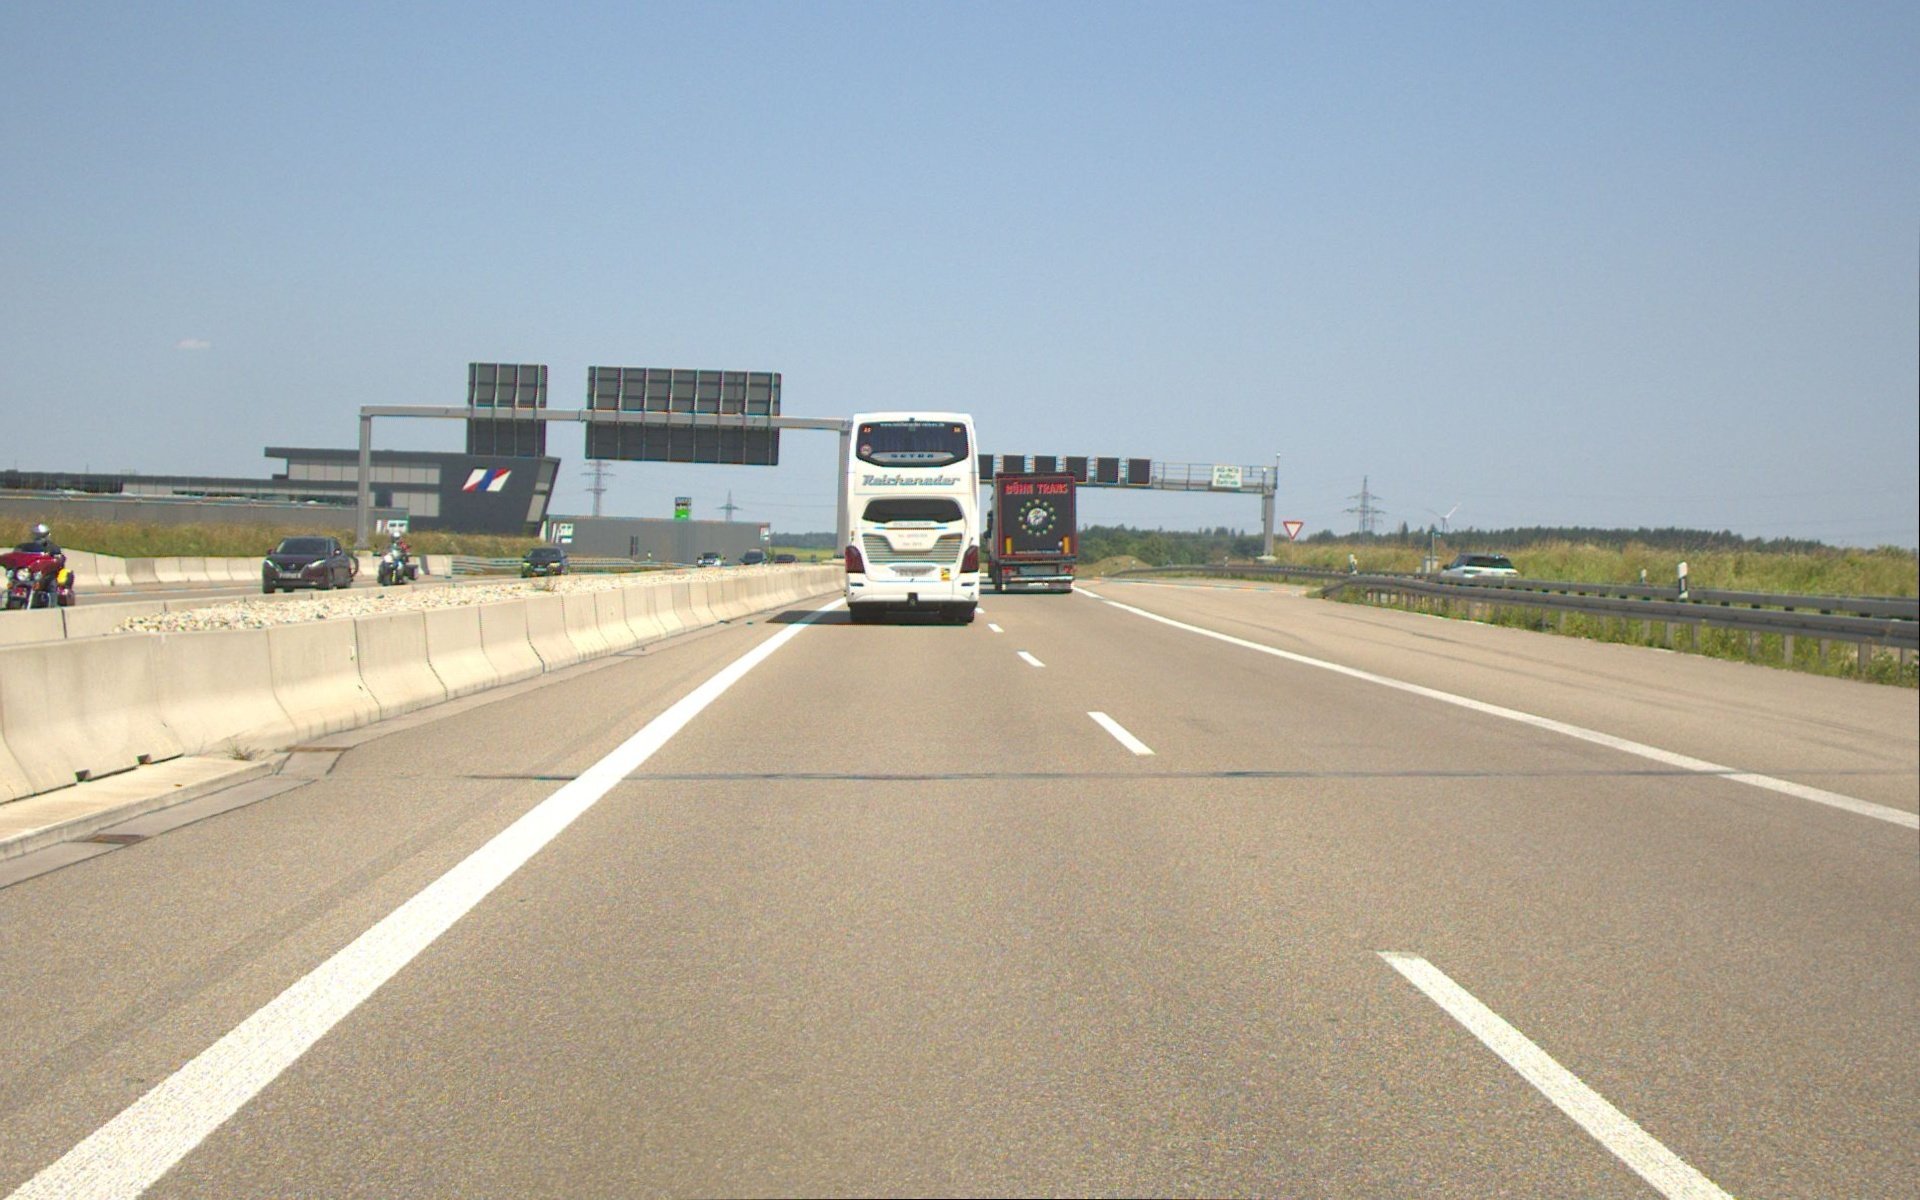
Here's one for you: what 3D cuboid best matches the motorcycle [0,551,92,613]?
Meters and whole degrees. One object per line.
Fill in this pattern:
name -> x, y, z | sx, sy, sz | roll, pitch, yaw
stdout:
motorcycle -> -14.065, -0.285, 52.740 | 0.775, 0.899, 2.705 | 0, 1, 1

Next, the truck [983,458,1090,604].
truck -> 2.698, -2.229, 117.858 | 3.380, 4.449, 13.565 | 1, -1, 2

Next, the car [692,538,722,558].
car -> -16.888, -3.487, 229.738 | 1.890, 1.324, 3.986 | 0, 1, -2

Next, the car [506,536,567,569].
car -> -18.070, -2.038, 146.841 | 1.993, 1.374, 4.364 | 1, 1, 1

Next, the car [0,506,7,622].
car -> -17.578, -0.590, 57.550 | 1.885, 2.011, 4.735 | 0, 1, 1

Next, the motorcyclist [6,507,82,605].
motorcyclist -> -14.048, -0.680, 52.730 | 0.918, 1.492, 0.923 | 0, 1, 1

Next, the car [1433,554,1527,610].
car -> 14.914, -0.531, 98.789 | 1.891, 1.524, 4.262 | 0, 1, -2

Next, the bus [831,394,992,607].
bus -> -1.006, -1.958, 68.862 | 2.980, 3.961, 9.106 | 0, 1, -1

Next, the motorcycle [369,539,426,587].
motorcycle -> -13.983, -0.940, 85.546 | 0.958, 1.165, 2.723 | 1, 1, 0

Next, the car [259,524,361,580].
car -> -17.861, -1.326, 94.708 | 1.869, 1.486, 5.139 | 0, 1, 0

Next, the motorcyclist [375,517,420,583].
motorcyclist -> -13.981, -1.249, 85.470 | 0.920, 1.616, 1.088 | 1, 1, 0
